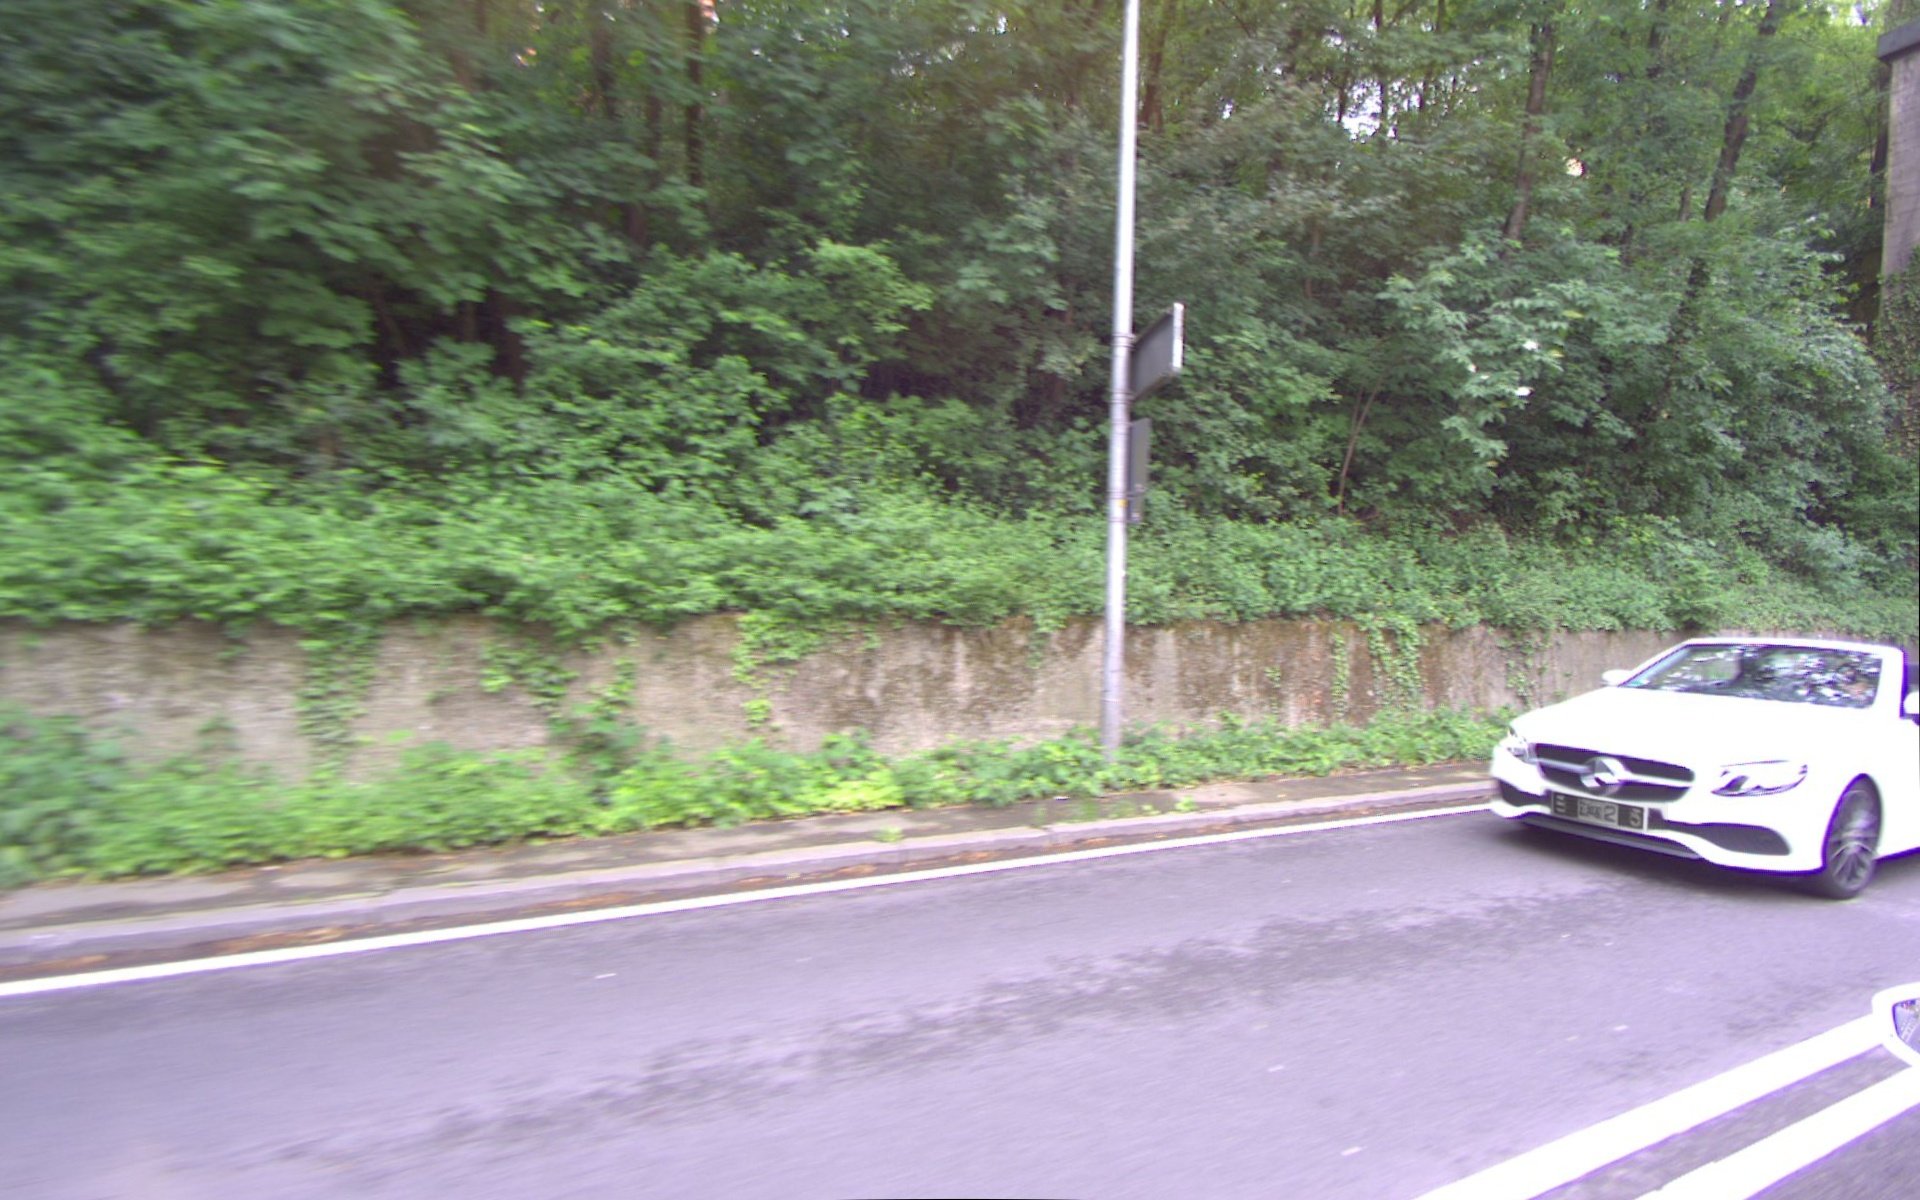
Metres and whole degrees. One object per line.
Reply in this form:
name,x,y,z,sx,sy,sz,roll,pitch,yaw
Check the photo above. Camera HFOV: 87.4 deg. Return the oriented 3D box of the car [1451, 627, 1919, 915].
car,5.639,0.930,6.914,4.401,1.389,1.860,1,0,-29
